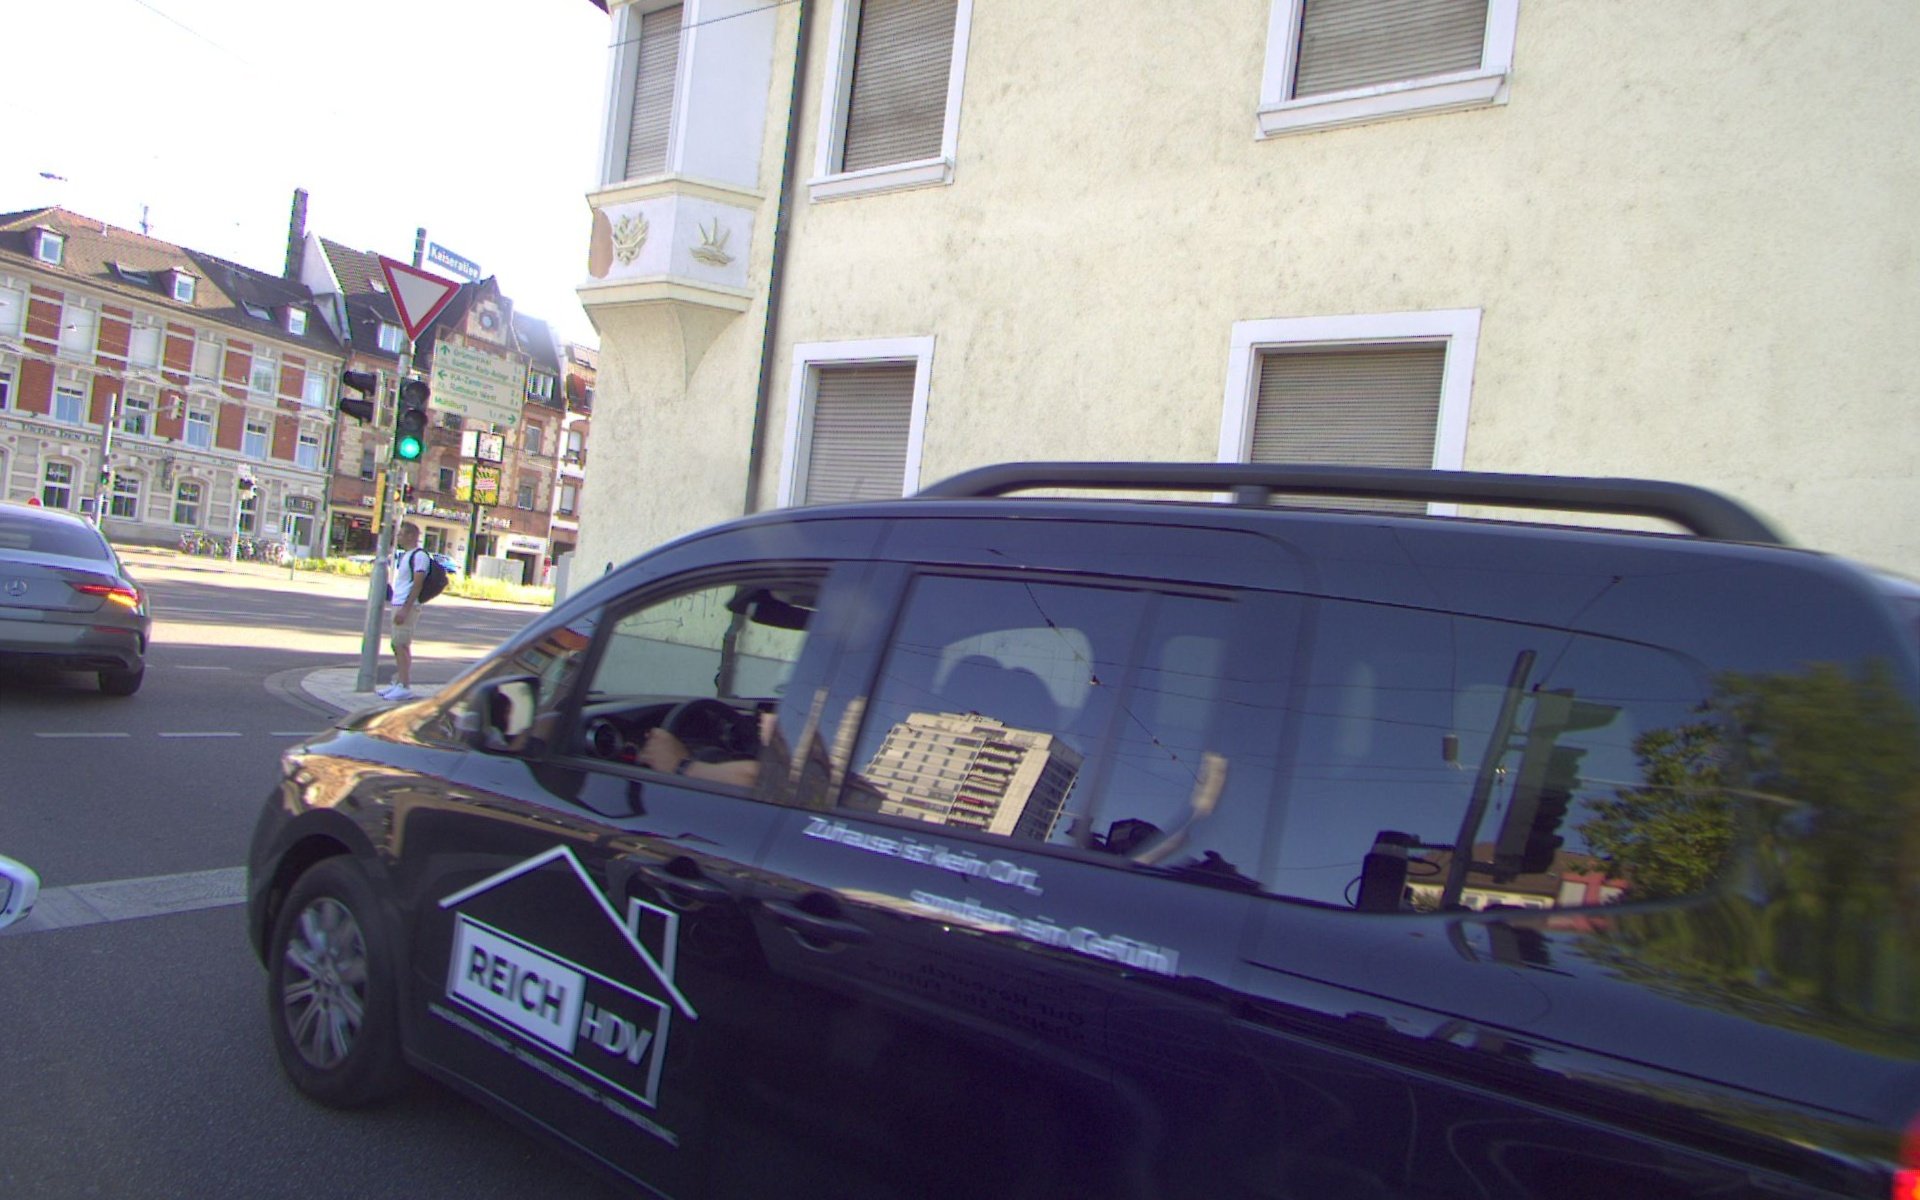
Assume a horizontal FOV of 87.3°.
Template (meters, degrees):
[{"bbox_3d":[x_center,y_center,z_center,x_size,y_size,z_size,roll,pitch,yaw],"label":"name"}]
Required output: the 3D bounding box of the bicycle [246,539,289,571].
[{"bbox_3d":[-33.051,-2.150,47.995,2.618,1.301,0.629,6,-1,33],"label":"bicycle"}]

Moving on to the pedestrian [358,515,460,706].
[{"bbox_3d":[-5.406,0.096,9.899,0.631,1.780,0.584,4,3,-7],"label":"pedestrian"}]

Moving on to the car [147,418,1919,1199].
[{"bbox_3d":[0.120,0.677,2.602,4.700,1.825,1.865,6,-2,32],"label":"car"}]

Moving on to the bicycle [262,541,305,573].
[{"bbox_3d":[-32.681,-2.072,48.584,2.618,1.301,0.629,6,-1,33],"label":"bicycle"}]

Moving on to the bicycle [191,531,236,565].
[{"bbox_3d":[-34.199,-2.389,46.069,2.618,1.301,0.693,6,-1,33],"label":"bicycle"}]

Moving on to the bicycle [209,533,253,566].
[{"bbox_3d":[-33.830,-2.337,46.693,2.618,1.301,0.629,6,-1,33],"label":"bicycle"}]

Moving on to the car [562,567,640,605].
[{"bbox_3d":[-23.245,-0.877,65.288,1.967,1.798,4.374,6,-2,31],"label":"car"}]

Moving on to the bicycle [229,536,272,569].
[{"bbox_3d":[-33.416,-2.228,47.365,2.618,1.301,0.629,6,-1,33],"label":"bicycle"}]

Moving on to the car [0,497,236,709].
[{"bbox_3d":[-8.213,-0.139,8.420,4.419,1.436,1.910,6,-2,33],"label":"car"}]

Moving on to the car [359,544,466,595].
[{"bbox_3d":[-25.471,-1.395,46.908,1.967,1.798,3.790,6,-2,31],"label":"car"}]

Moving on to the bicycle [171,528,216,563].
[{"bbox_3d":[-34.614,-2.472,45.414,2.618,1.301,0.693,6,-1,33],"label":"bicycle"}]
